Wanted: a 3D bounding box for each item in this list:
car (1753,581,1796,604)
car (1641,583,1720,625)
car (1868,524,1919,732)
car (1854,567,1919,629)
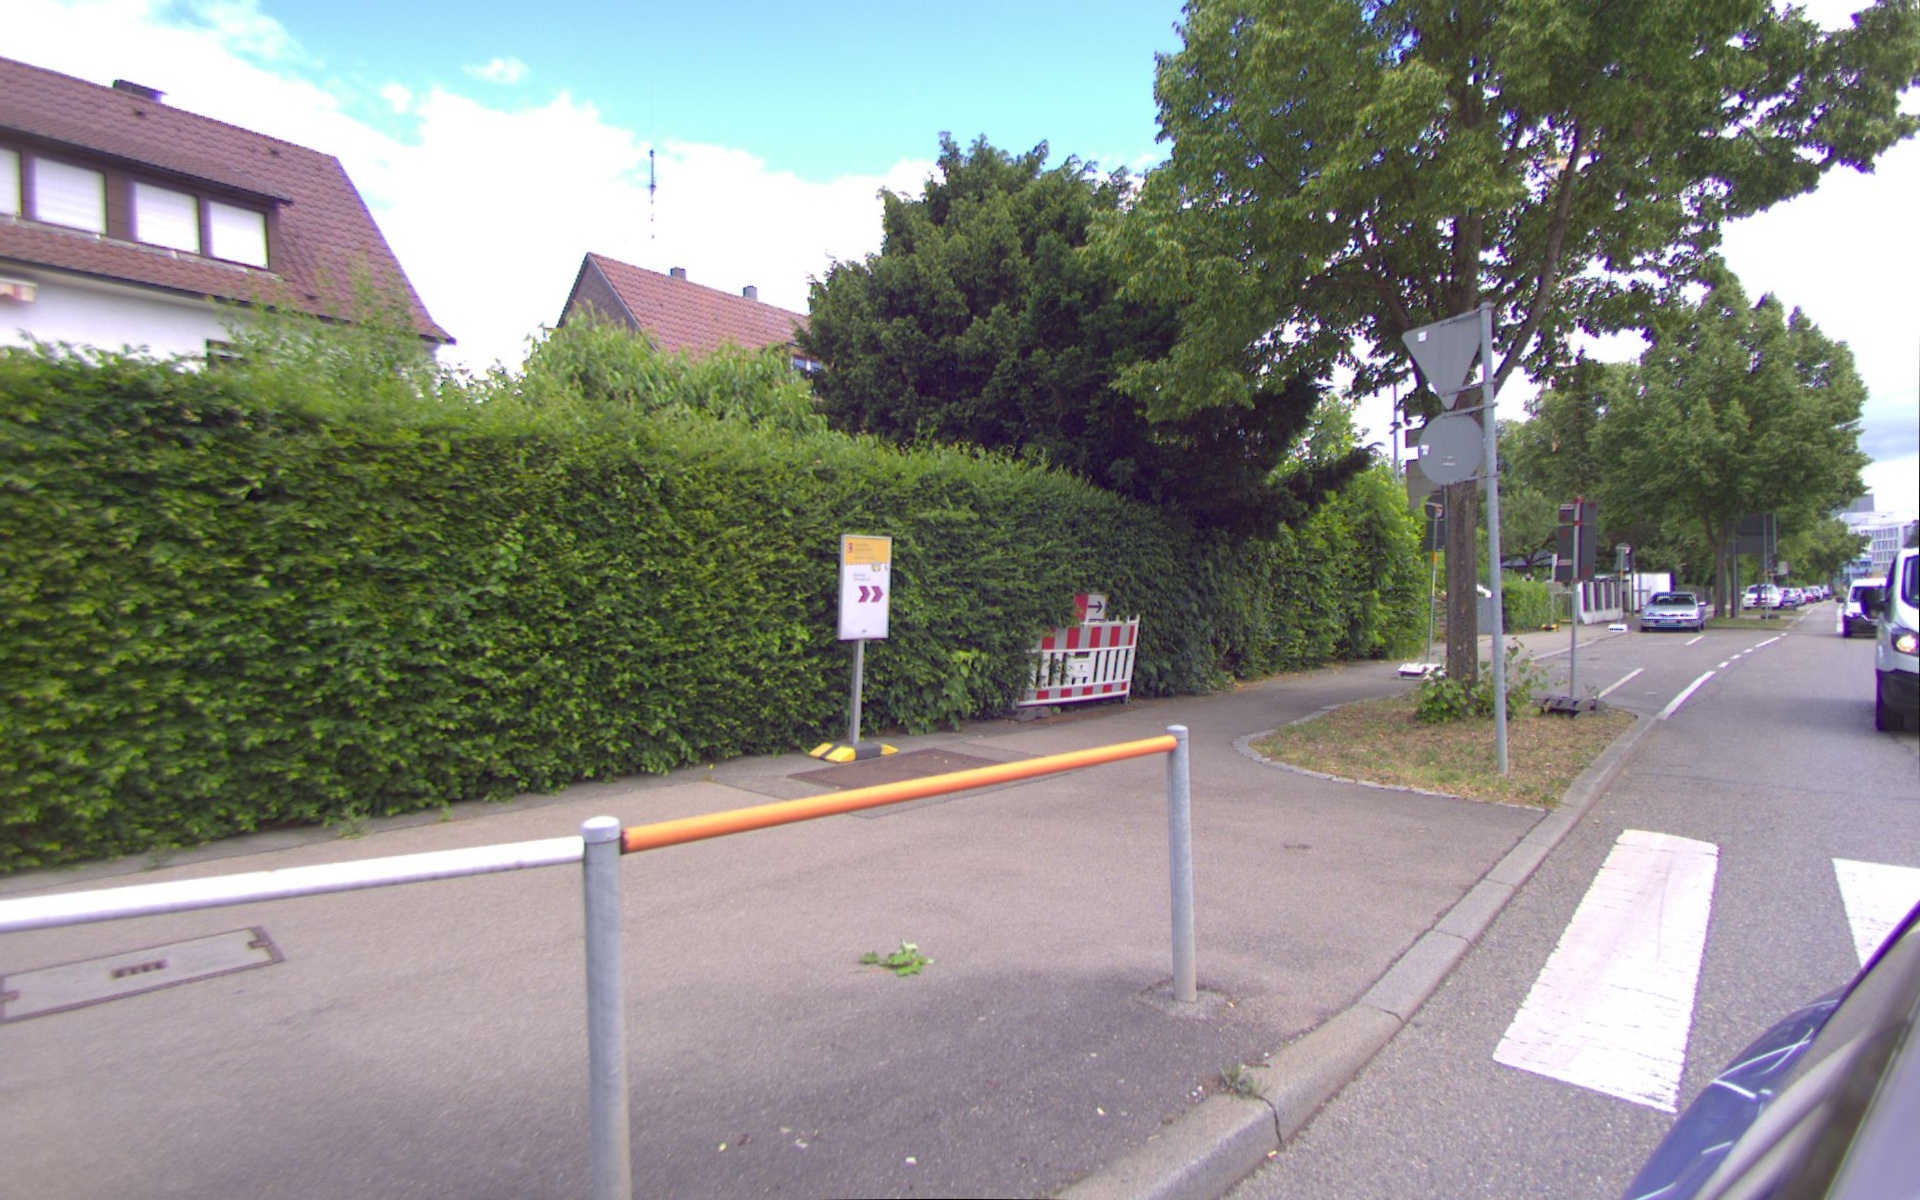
[{"bbox_3d":[50.589,-0.496,62.848,1.805,1.359,3.939,-1,0,42],"label":"car"},{"bbox_3d":[25.511,0.125,35.782,1.805,1.359,3.939,-1,0,42],"label":"car"},{"bbox_3d":[11.614,0.218,11.169,4.967,2.039,1.995,-1,0,-44],"label":"car"},{"bbox_3d":[28.659,-0.101,30.896,1.921,1.776,3.939,-1,0,43],"label":"car"}]
